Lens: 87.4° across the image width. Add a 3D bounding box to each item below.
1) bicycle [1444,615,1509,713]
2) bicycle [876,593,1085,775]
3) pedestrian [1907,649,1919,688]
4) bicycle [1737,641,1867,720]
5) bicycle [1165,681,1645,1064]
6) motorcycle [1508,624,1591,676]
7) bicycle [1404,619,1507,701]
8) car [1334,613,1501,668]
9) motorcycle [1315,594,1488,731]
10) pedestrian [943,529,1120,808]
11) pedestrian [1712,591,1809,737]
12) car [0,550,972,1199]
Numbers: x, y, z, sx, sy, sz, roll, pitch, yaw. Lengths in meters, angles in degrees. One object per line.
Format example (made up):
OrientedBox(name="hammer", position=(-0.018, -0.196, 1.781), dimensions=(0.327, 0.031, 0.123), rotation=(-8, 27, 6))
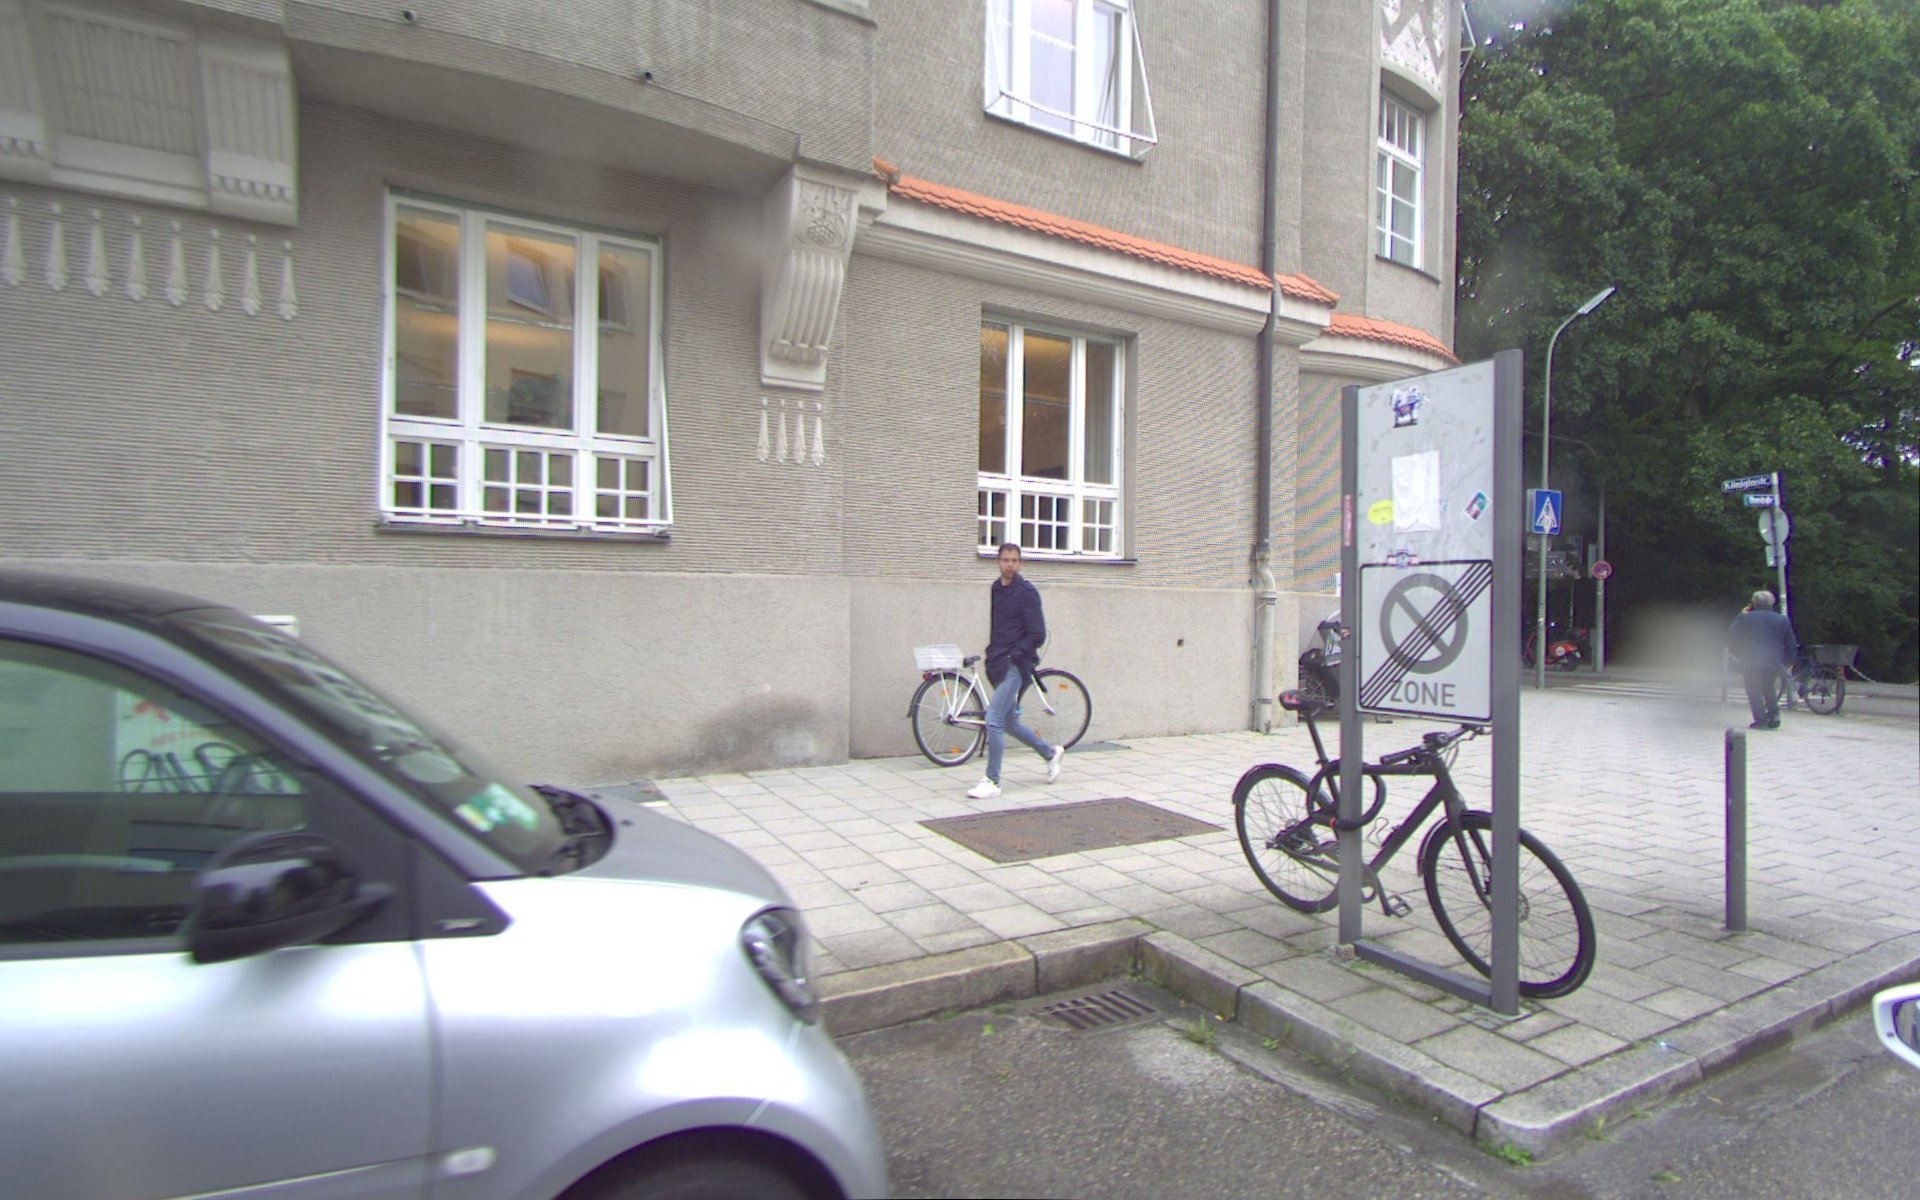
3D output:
OrientedBox(name="bicycle", position=(7.379, 0.861, 14.306), dimensions=(0.725, 1.273, 1.923), rotation=(2, 0, 30))
OrientedBox(name="bicycle", position=(0.190, 0.649, 8.316), dimensions=(1.658, 1.367, 0.614), rotation=(1, 1, -34))
OrientedBox(name="pedestrian", position=(29.515, 2.090, 30.846), dimensions=(0.490, 1.171, 0.469), rotation=(1, 1, -24))
OrientedBox(name="bicycle", position=(12.801, 1.186, 15.351), dimensions=(0.501, 1.023, 2.009), rotation=(1, 0, 7))
OrientedBox(name="bicycle", position=(1.660, 0.938, 4.097), dimensions=(0.534, 1.028, 1.793), rotation=(1, 1, -30))
OrientedBox(name="motorcycle", position=(15.288, 1.271, 26.109), dimensions=(0.843, 1.199, 2.004), rotation=(-2, 1, -5))
OrientedBox(name="bicycle", position=(7.991, 0.932, 16.296), dimensions=(0.554, 1.172, 1.925), rotation=(4, 0, -2))
OrientedBox(name="car", position=(13.650, 1.157, 30.204), dimensions=(1.608, 1.468, 4.394), rotation=(1, -1, -34))
OrientedBox(name="motorcycle", position=(5.129, 0.687, 11.621), dimensions=(2.122, 1.460, 0.732), rotation=(1, 1, -31))
OrientedBox(name="pedestrian", position=(0.491, 0.451, 7.104), dimensions=(0.924, 1.811, 0.836), rotation=(1, 1, -27))
OrientedBox(name="pedestrian", position=(9.619, 0.739, 12.103), dimensions=(0.799, 1.663, 0.724), rotation=(2, 1, 32))
OrientedBox(name="car", position=(-1.643, 0.704, 1.815), dimensions=(2.875, 1.535, 1.696), rotation=(1, 0, -29))
